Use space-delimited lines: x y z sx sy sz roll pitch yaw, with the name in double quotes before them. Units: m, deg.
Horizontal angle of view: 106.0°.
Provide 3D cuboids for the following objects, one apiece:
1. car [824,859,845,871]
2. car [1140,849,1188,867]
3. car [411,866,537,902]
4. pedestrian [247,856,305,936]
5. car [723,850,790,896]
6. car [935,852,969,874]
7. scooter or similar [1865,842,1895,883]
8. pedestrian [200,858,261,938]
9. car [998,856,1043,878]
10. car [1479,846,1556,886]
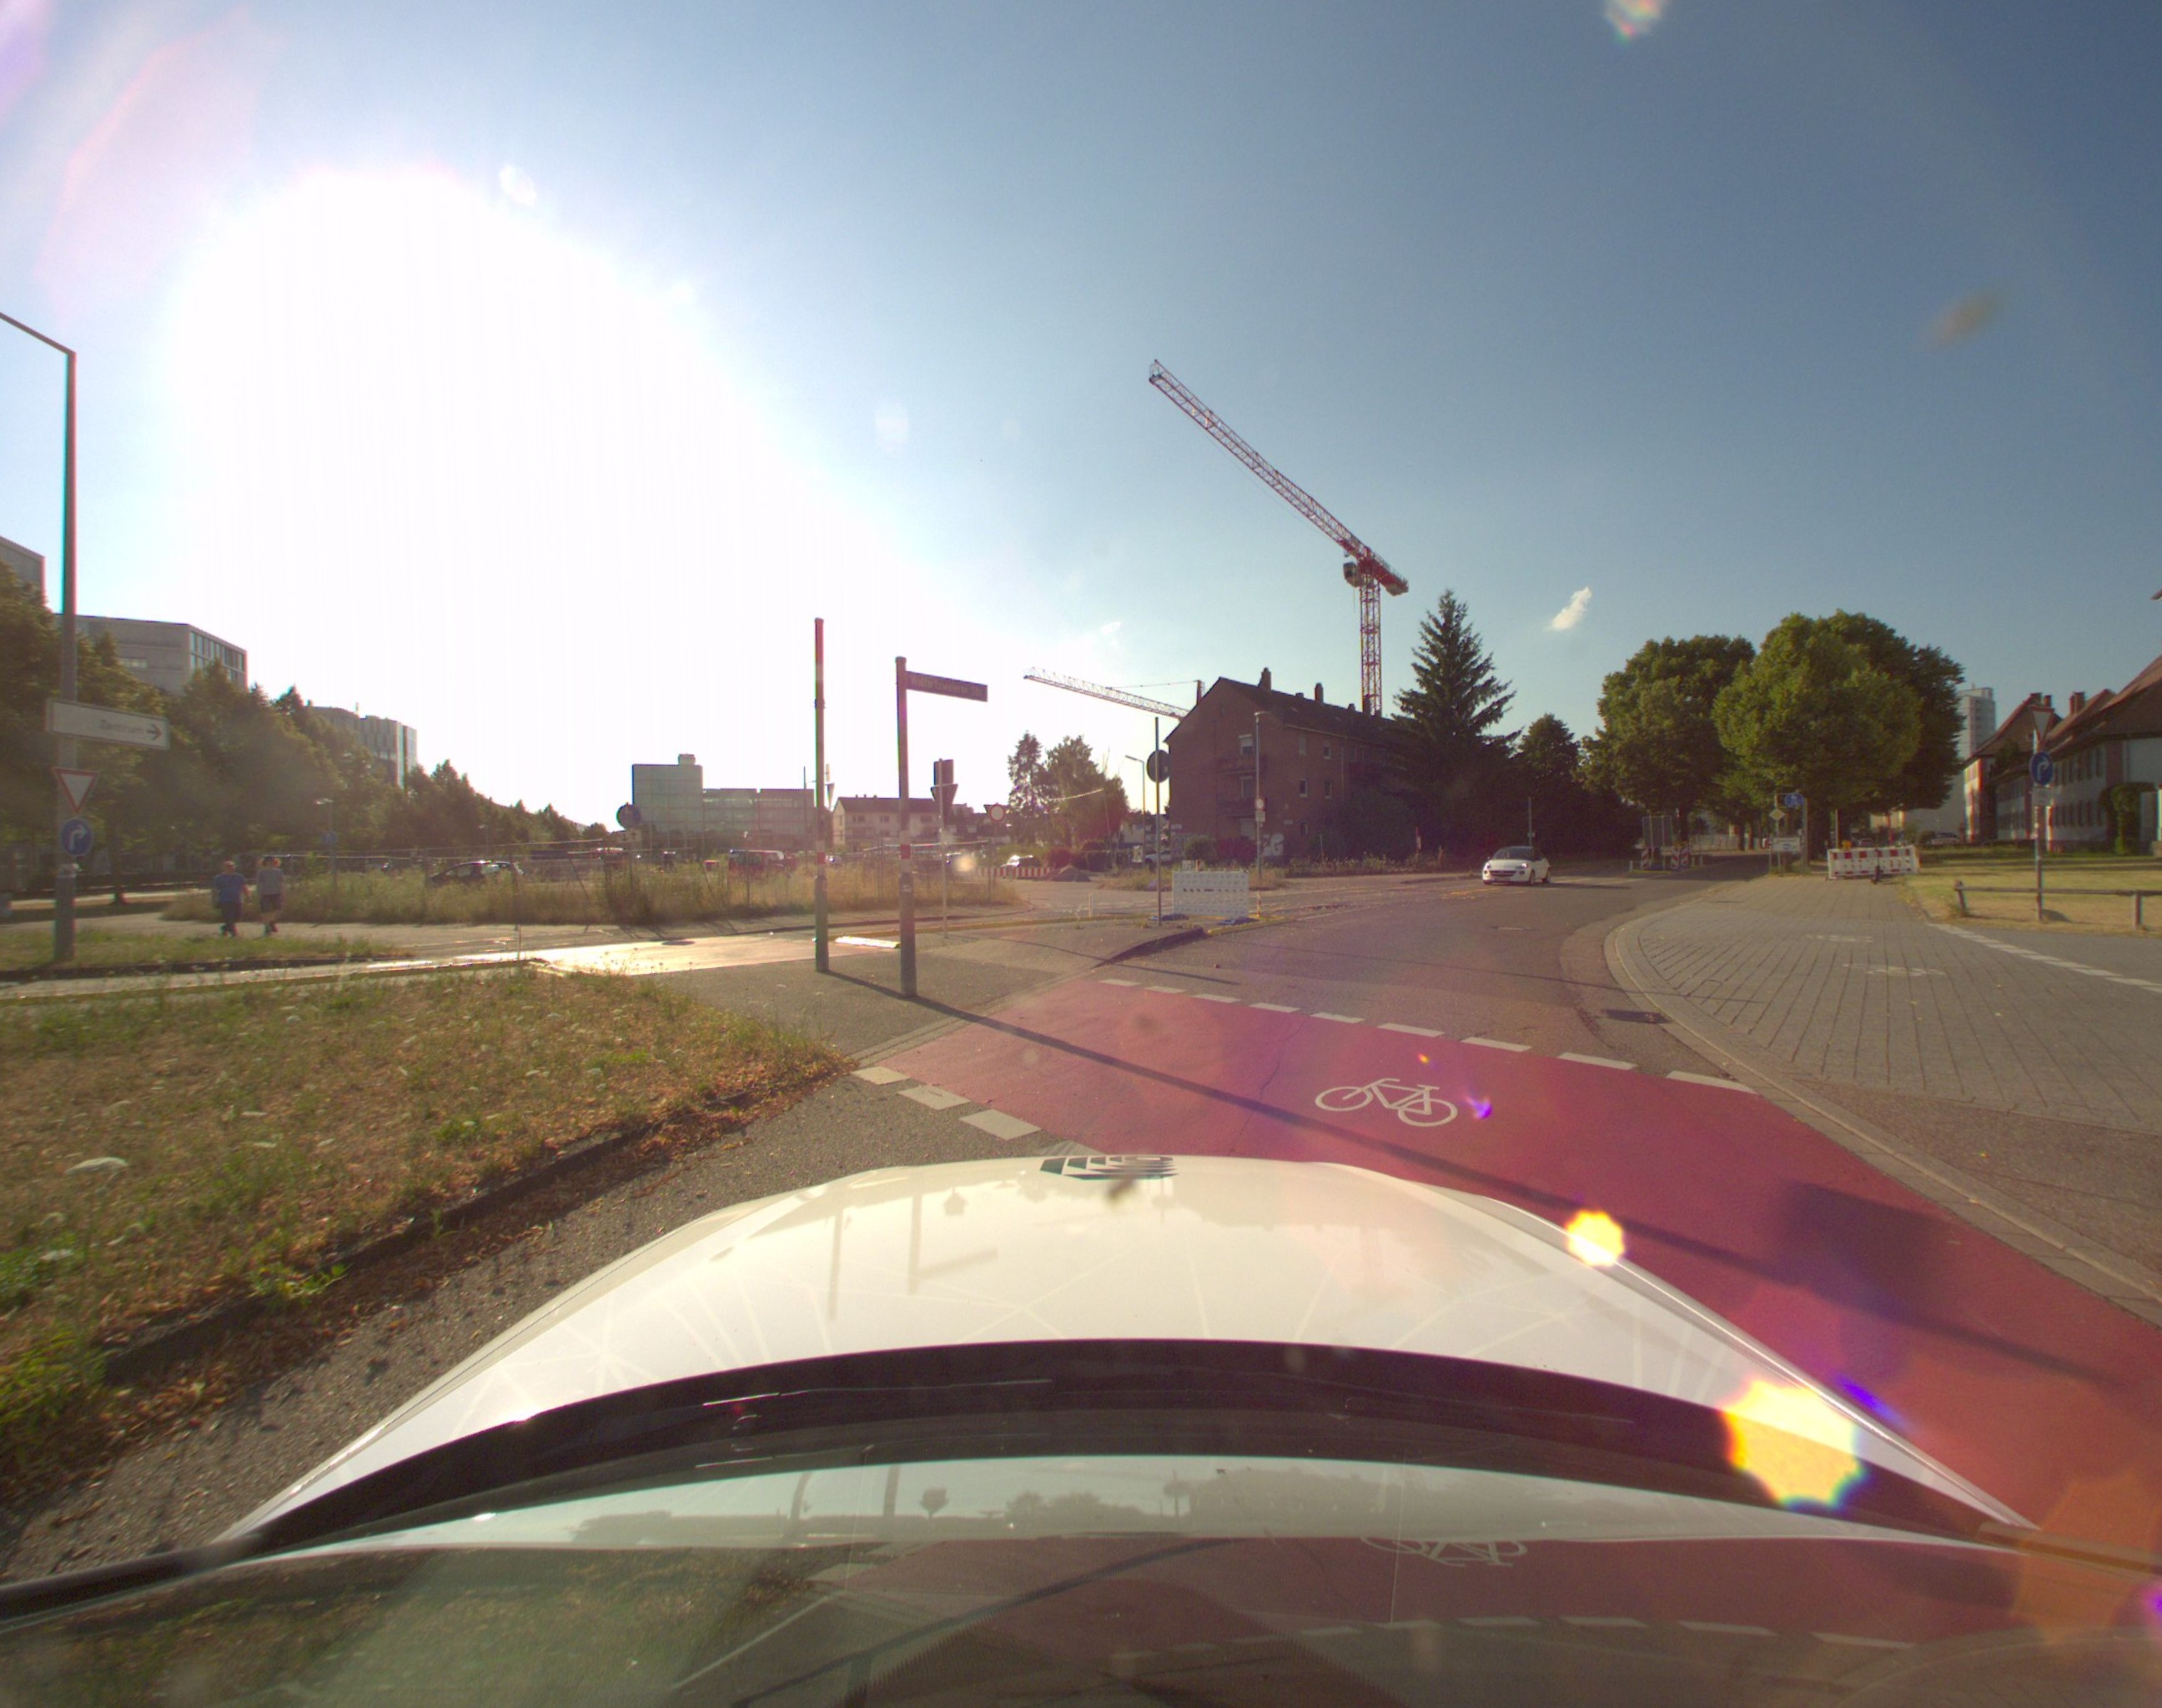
"car" -36.361 1.613 120.188 2.158 1.838 4.322 0 0 -28
"car" 7.362 0.379 72.067 3.960 1.530 2.007 -1 0 12
"car" -26.166 1.249 35.317 4.261 1.363 1.979 -1 0 -33
"pedestrian" -18.481 0.937 18.698 0.762 1.775 0.765 -1 0 31
"car" -15.490 0.839 39.128 1.994 2.013 5.293 -1 0 -11
"car" -12.072 0.835 75.885 1.874 1.948 3.962 -1 0 -30
"scooter or similar" 26.031 0.265 26.541 0.553 1.292 1.471 -8 -5 44
"pedestrian" -18.863 0.950 18.057 0.802 1.709 0.791 -1 0 33
"car" -4.601 0.959 61.459 2.004 1.552 3.966 -1 0 -26
"car" 16.829 0.396 31.336 1.742 1.421 3.647 1 1 42
